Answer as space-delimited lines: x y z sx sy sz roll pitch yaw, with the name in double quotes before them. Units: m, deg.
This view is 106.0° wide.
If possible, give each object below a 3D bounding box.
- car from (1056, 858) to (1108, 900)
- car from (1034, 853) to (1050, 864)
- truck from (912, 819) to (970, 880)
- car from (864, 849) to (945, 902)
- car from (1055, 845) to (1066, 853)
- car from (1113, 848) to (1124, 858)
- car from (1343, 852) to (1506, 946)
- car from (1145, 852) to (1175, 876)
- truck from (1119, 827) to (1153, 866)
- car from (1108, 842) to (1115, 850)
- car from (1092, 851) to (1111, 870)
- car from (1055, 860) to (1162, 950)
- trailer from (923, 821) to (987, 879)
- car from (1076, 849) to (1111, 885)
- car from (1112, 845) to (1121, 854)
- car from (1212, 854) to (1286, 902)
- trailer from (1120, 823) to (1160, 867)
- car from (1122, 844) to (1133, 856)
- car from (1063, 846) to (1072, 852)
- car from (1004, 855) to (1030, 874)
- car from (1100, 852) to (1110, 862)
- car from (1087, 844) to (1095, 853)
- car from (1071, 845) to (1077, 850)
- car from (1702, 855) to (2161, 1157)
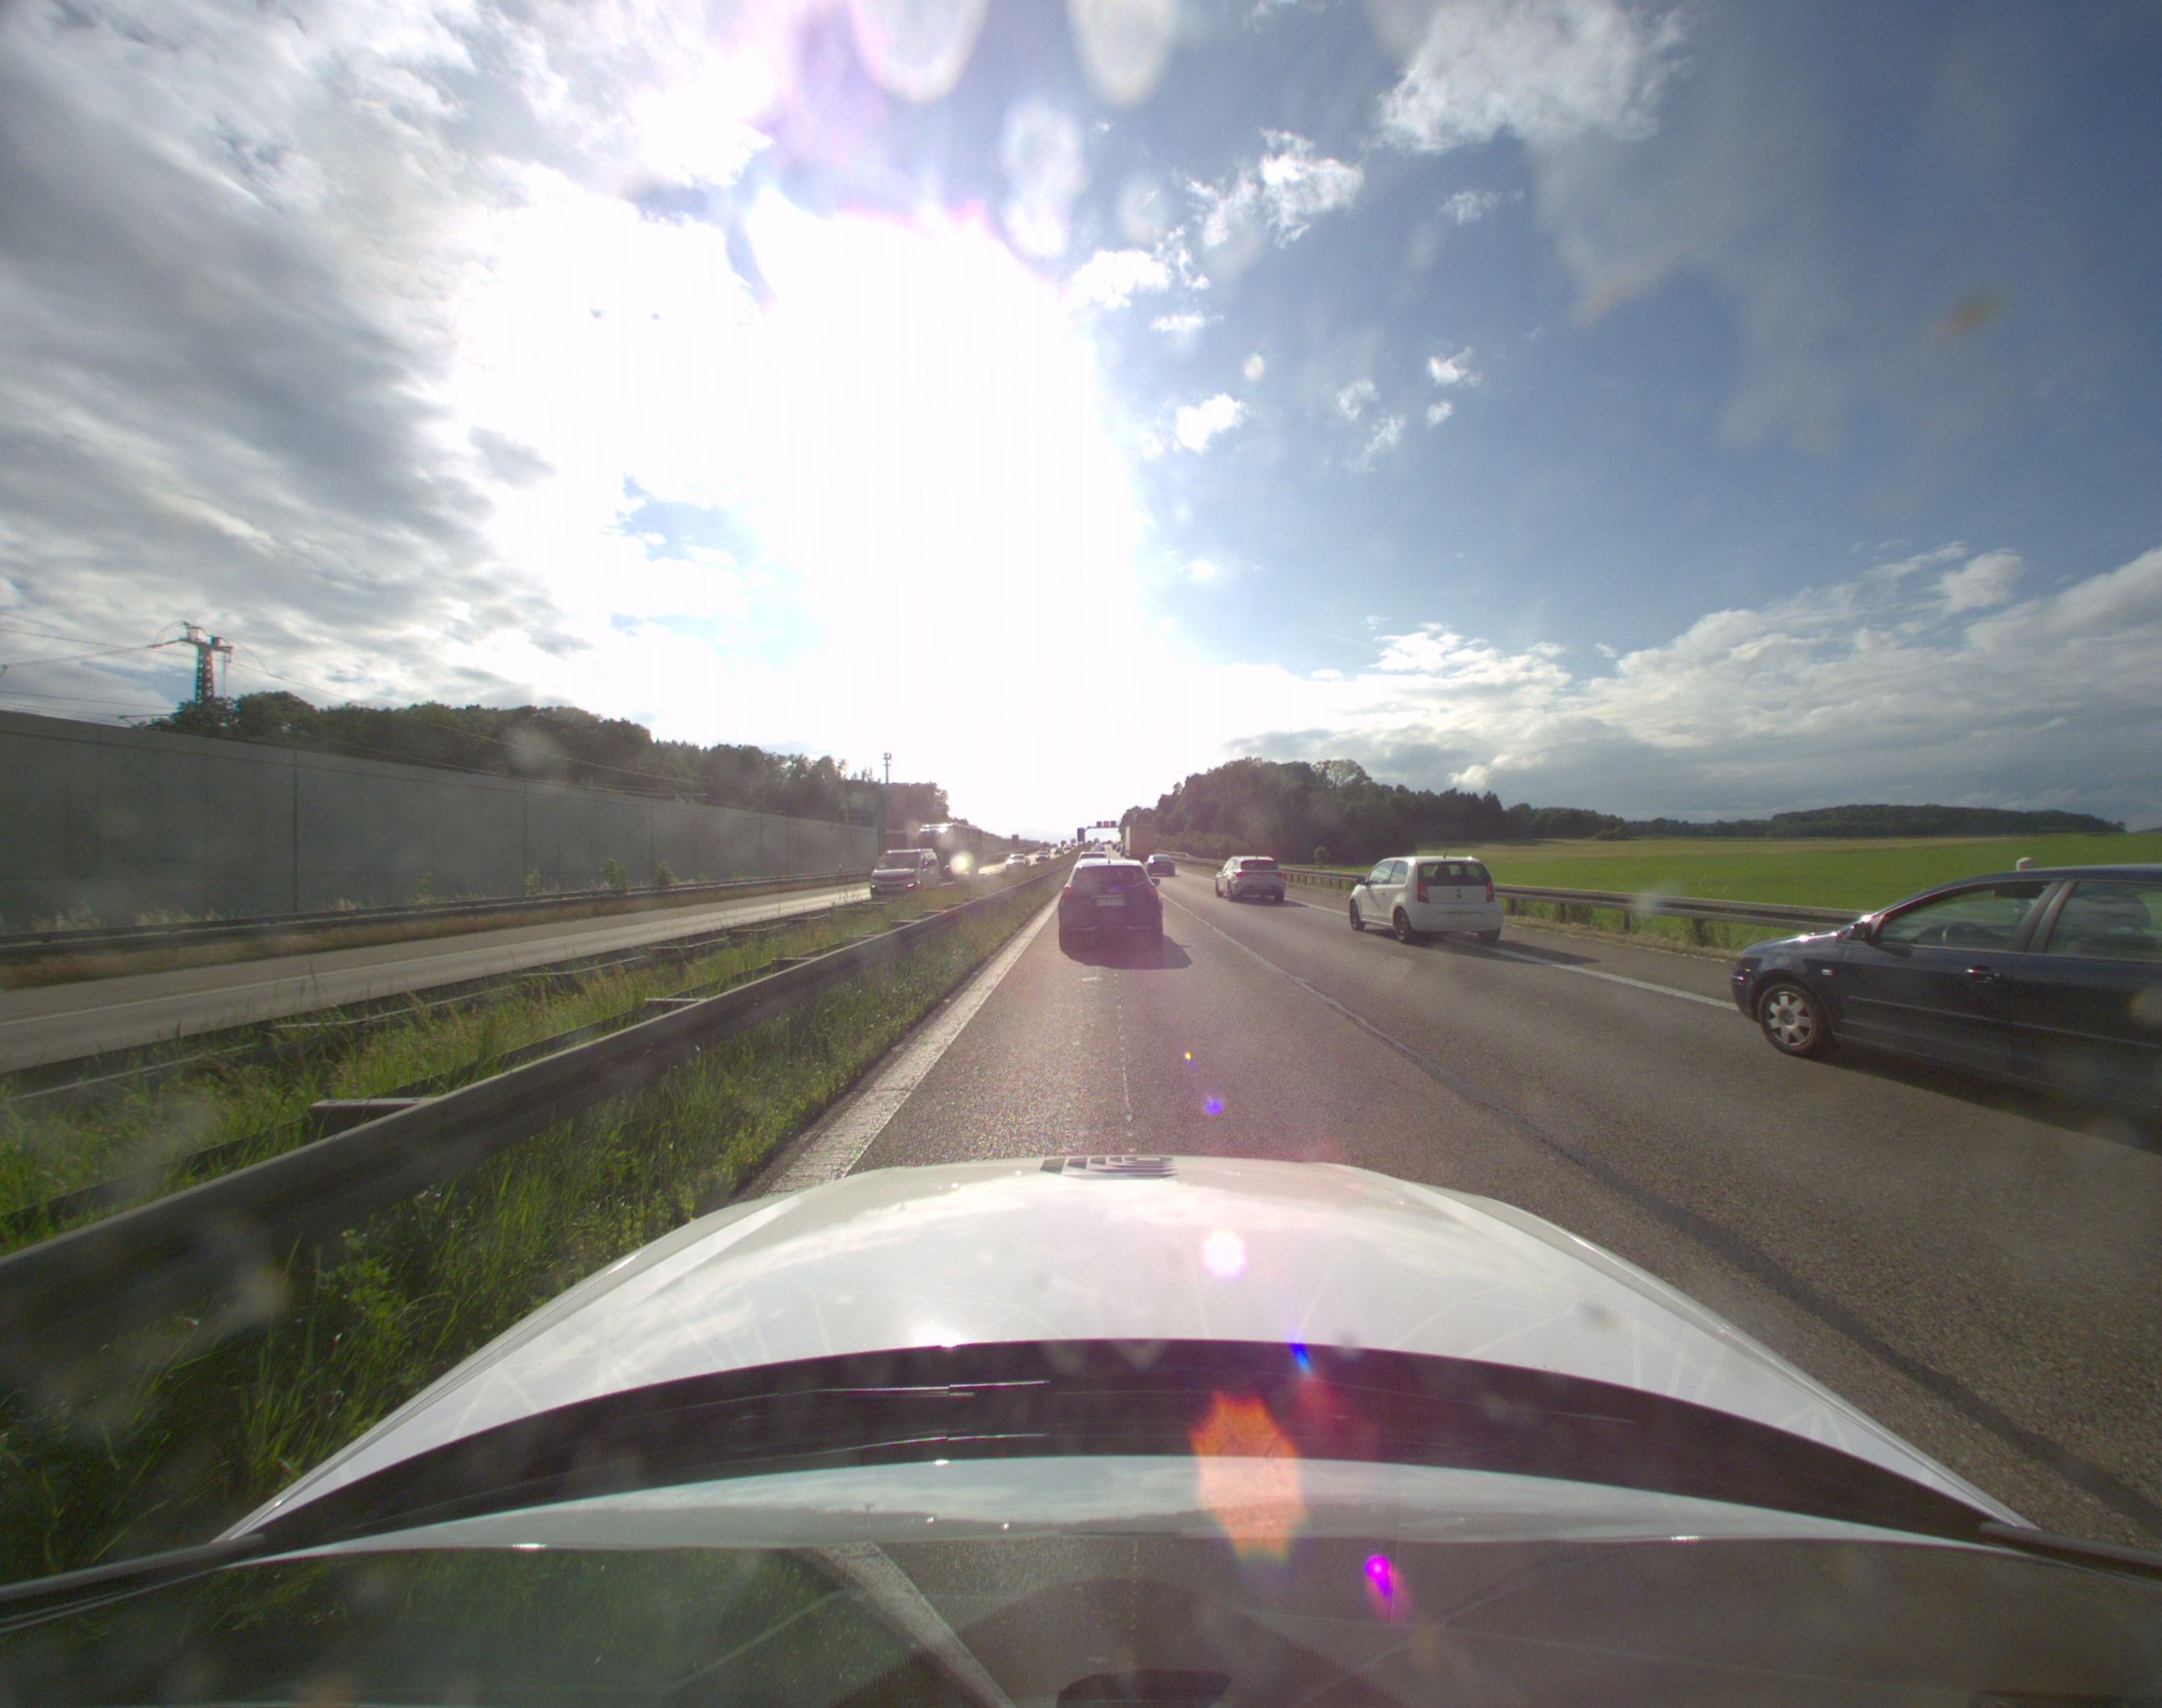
"car" 0.106 0.846 28.554 1.667 1.367 3.598 -1 -1 2
"car" -5.458 0.619 114.255 1.895 1.464 4.184 0 -1 1
"truck" -10.063 -0.252 59.102 2.744 4.090 6.955 -1 -1 1
"car" -6.943 0.828 32.559 1.986 1.883 4.788 -3 -1 2
"car" -3.879 -0.890 156.593 1.987 1.433 4.449 0 -1 1
"car" 7.631 -0.261 166.544 1.987 2.014 4.000 0 -1 0
"car" 6.109 0.725 14.872 1.544 1.495 3.377 -1 0 0
"car" 5.199 0.676 54.048 1.740 1.475 4.149 -1 -1 2
"truck" 6.334 -0.856 95.411 3.570 4.380 6.688 0 -1 0
"car" 8.494 -2.240 227.105 1.987 2.014 4.000 0 -1 0
"car" 2.147 0.686 85.538 1.987 2.014 4.000 0 -1 0
"car" 0.527 0.838 14.675 1.703 1.426 3.380 -1 -1 3
"trailer" -9.874 -0.219 65.530 2.749 4.115 12.907 -1 -1 2
"car" 0.653 0.668 41.117 1.667 1.726 3.598 -1 -1 2
"car" 8.140 -1.060 187.479 1.987 2.014 4.000 0 -1 0
"car" 5.485 0.762 27.077 1.615 1.445 4.146 -1 -1 0
"trailer" 6.268 -0.829 88.636 3.536 4.457 12.723 0 -1 1
"car" 7.568 -0.644 133.082 1.660 1.755 3.329 0 -1 3
"car" -3.381 -1.286 207.151 1.987 1.593 4.449 0 -1 1
"car" -5.821 0.953 74.829 1.881 1.632 5.111 0 -1 1
"car" 4.306 0.568 144.634 1.660 1.755 3.329 0 -1 3
"car" 2.528 -1.398 205.423 1.987 2.014 4.000 0 -1 0
"car" -2.099 -2.084 246.772 1.847 1.433 4.449 -1 -1 1
"car" 6.023 0.734 4.878 1.705 1.445 3.773 -1 -1 -1
